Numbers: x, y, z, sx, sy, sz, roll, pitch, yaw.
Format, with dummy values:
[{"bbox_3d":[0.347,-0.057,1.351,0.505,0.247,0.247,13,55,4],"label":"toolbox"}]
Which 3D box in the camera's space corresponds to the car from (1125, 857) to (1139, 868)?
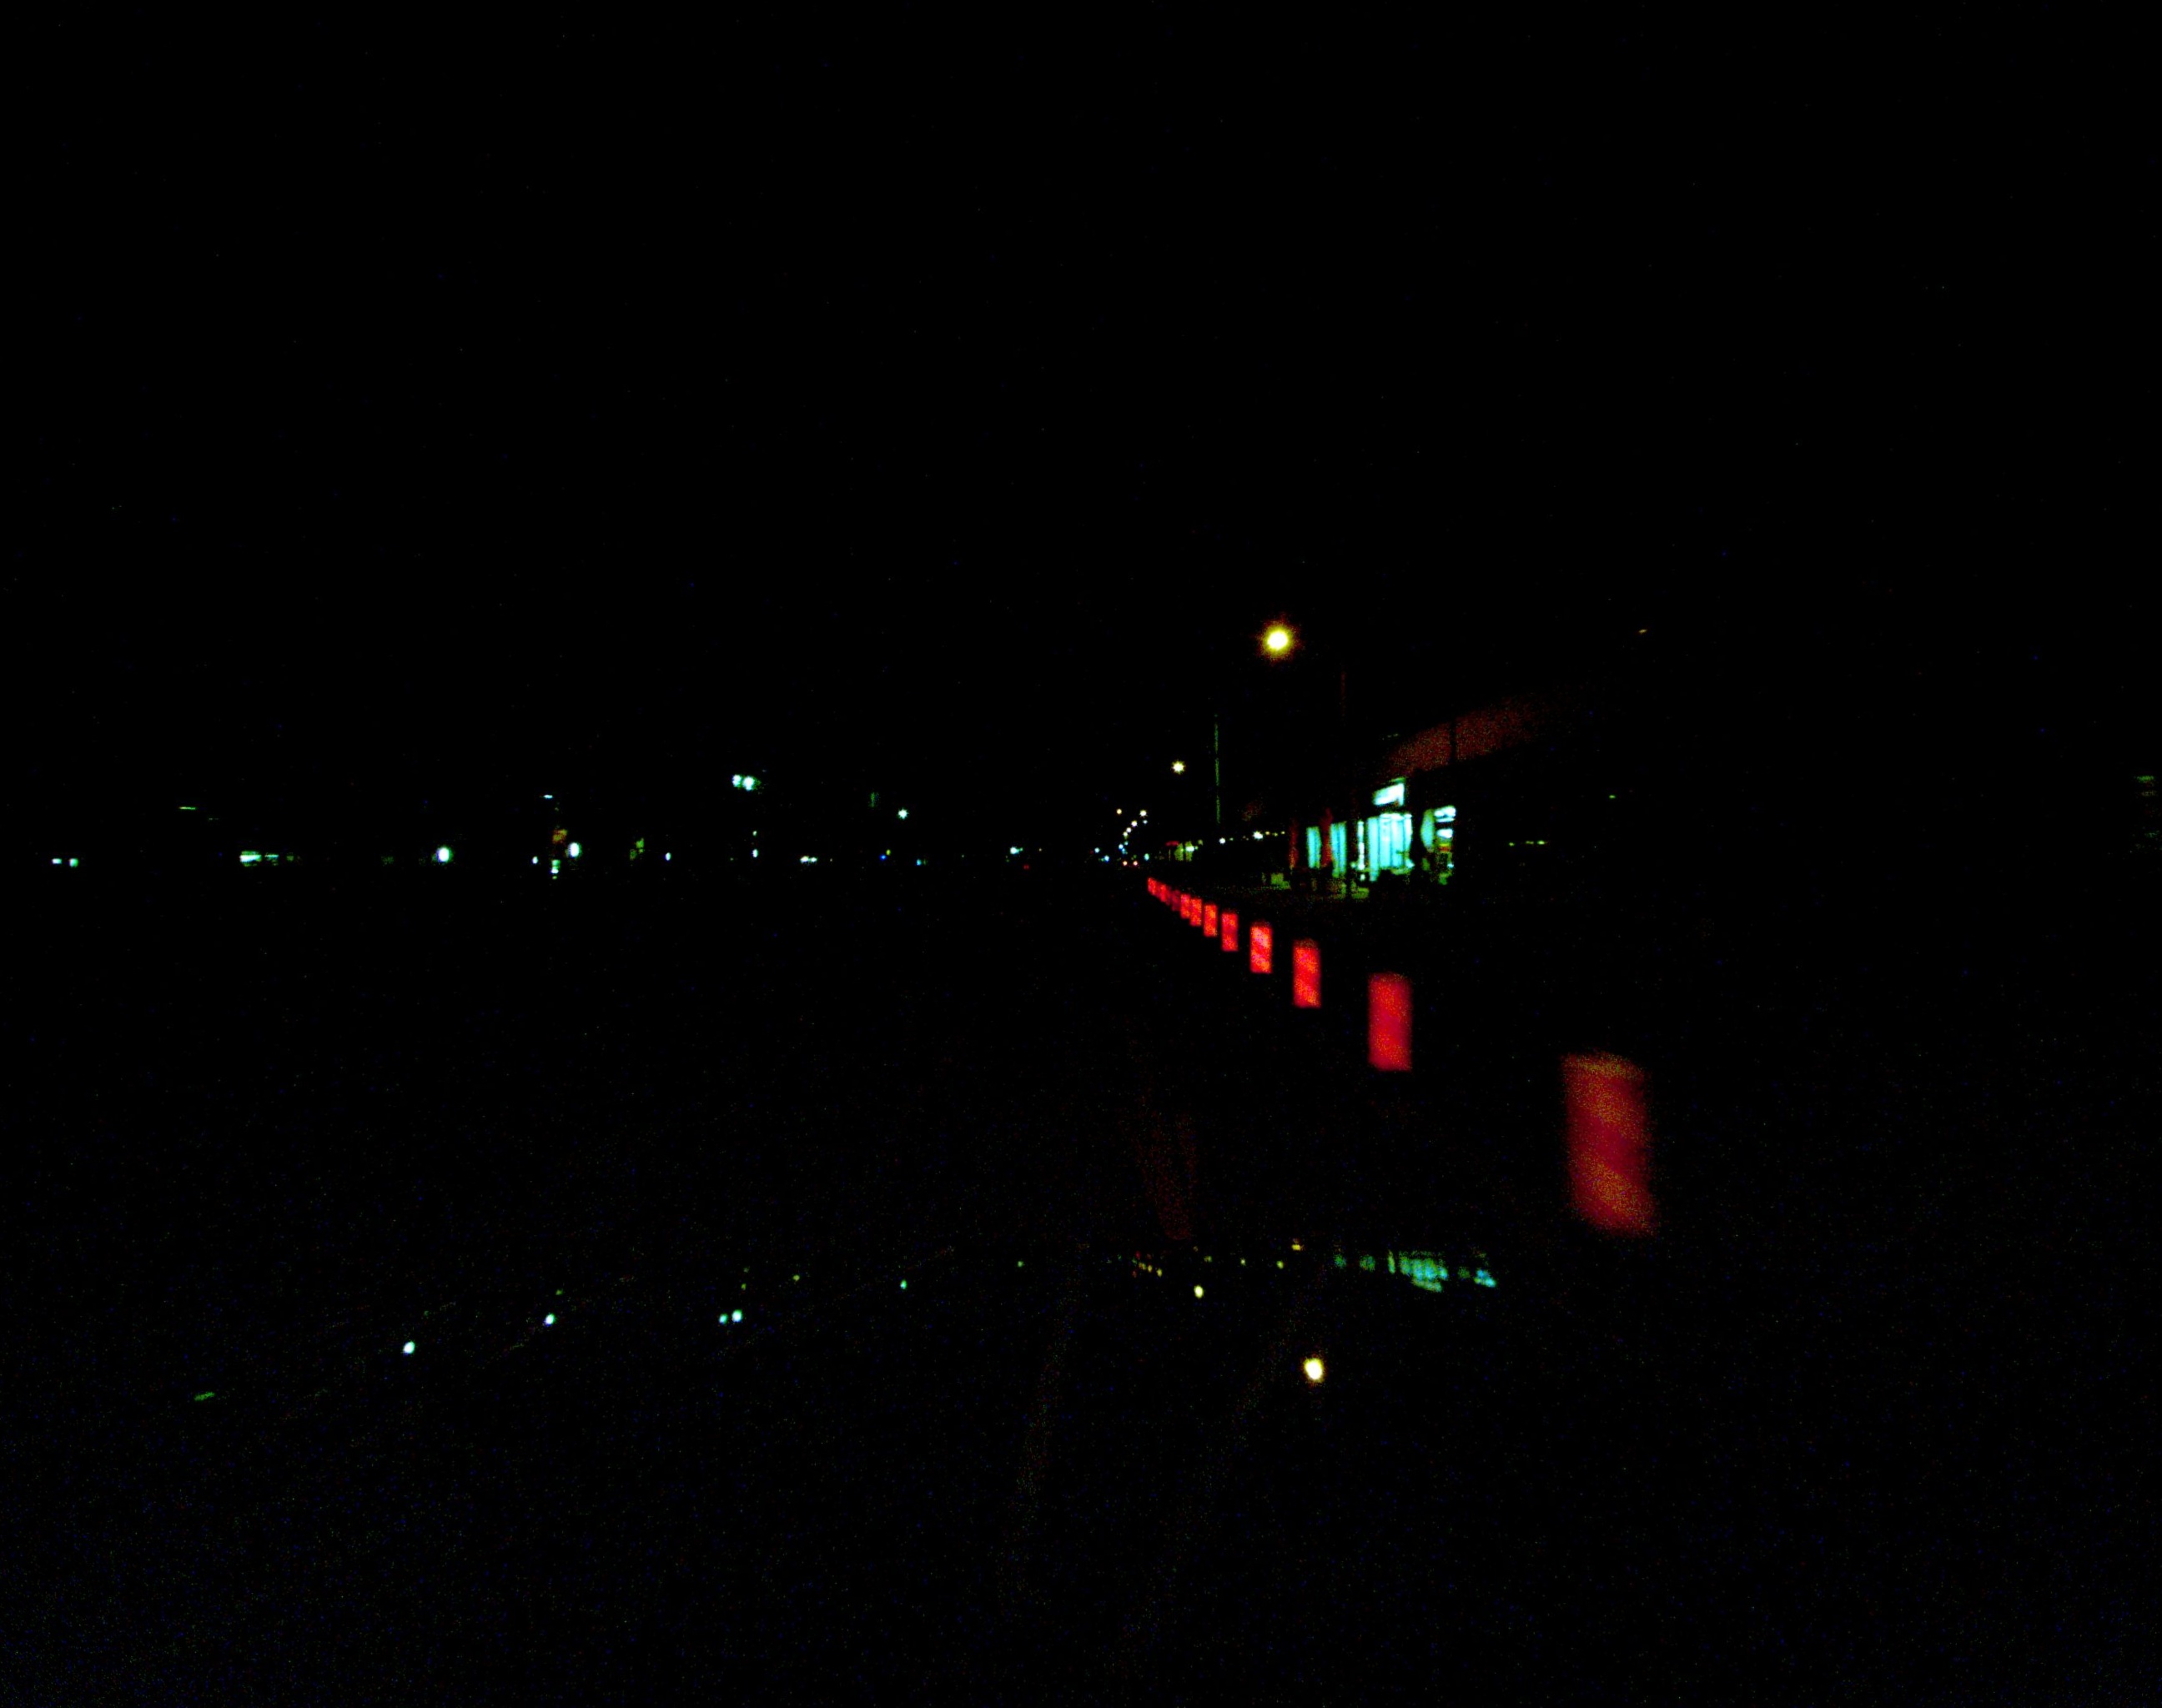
[{"bbox_3d":[6.611,1.078,98.358,1.671,1.420,4.000,0,0,1],"label":"car"}]
